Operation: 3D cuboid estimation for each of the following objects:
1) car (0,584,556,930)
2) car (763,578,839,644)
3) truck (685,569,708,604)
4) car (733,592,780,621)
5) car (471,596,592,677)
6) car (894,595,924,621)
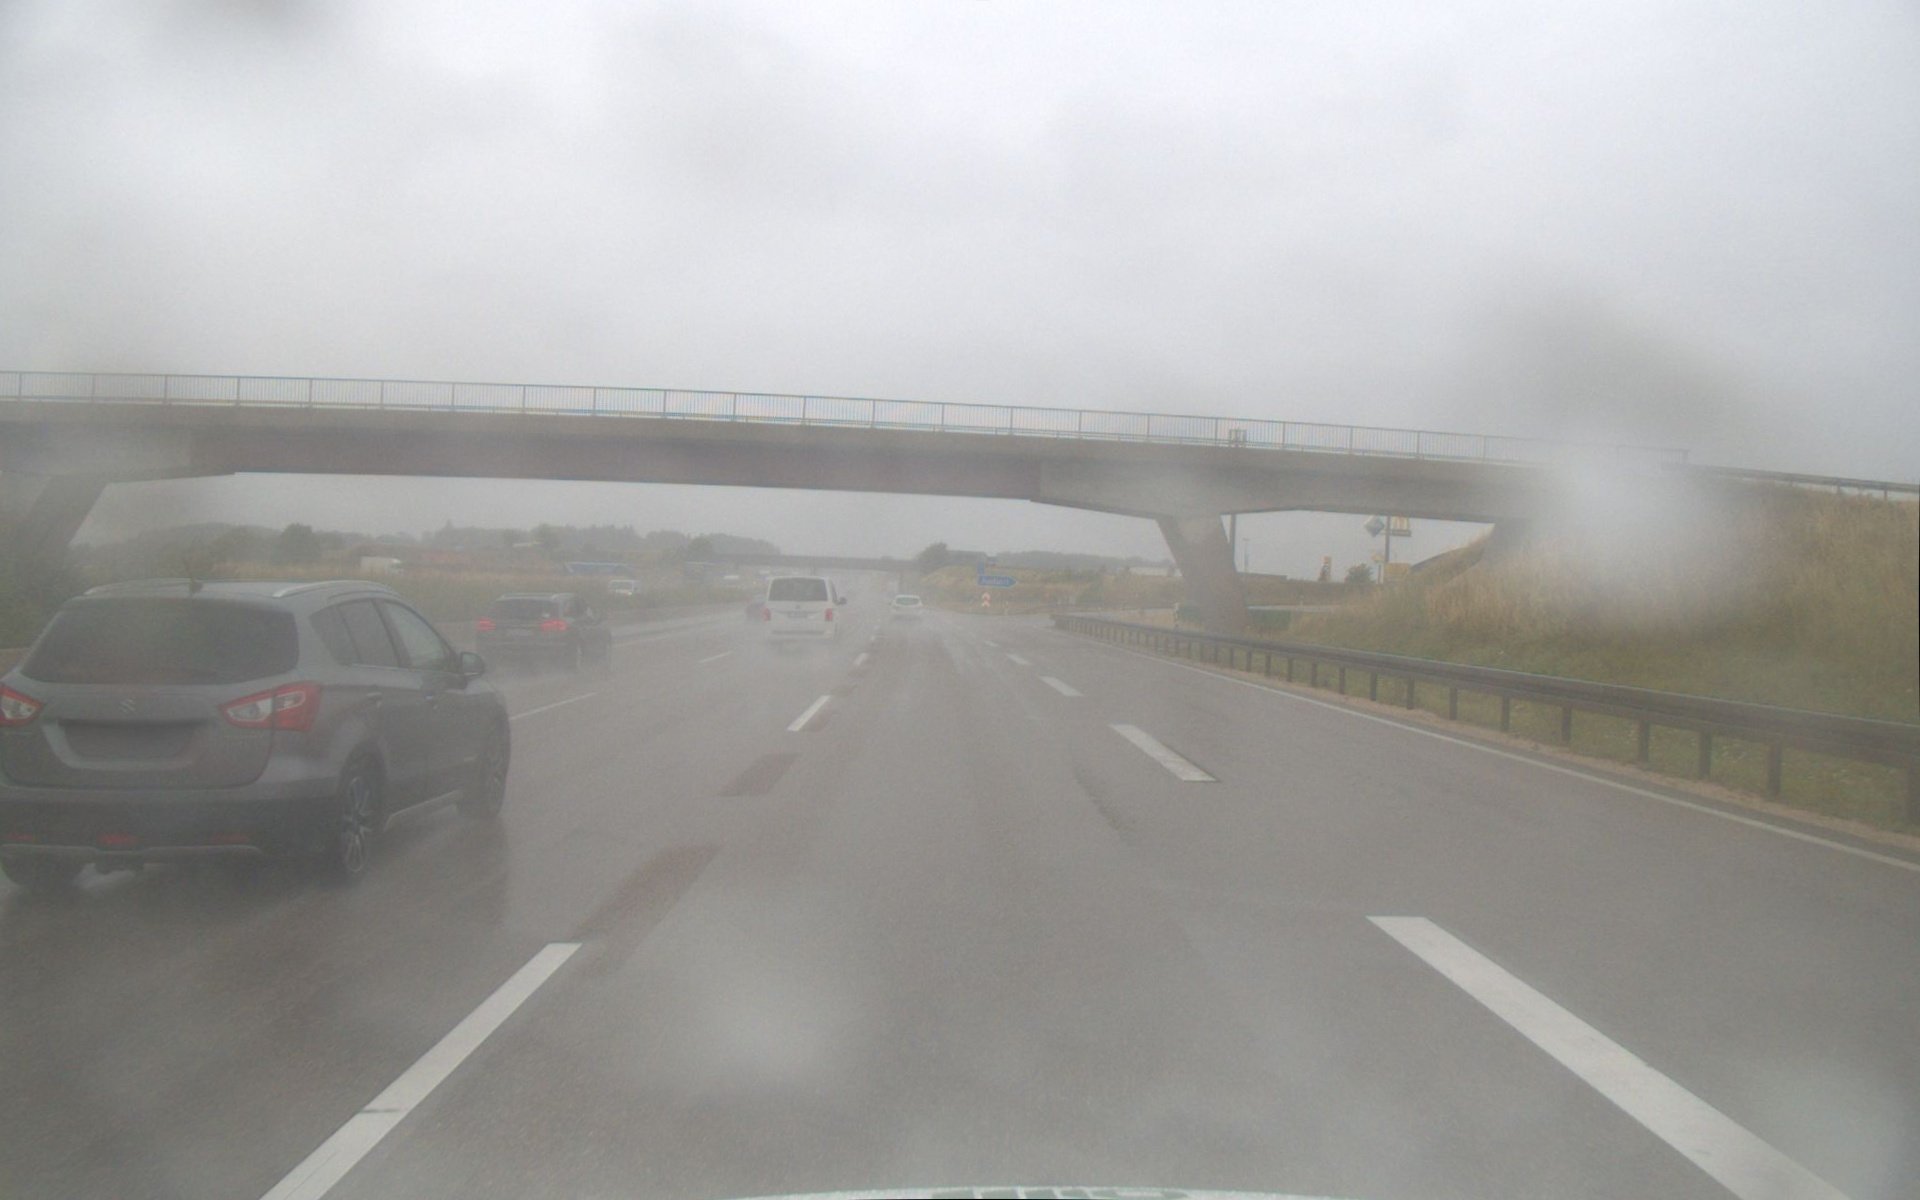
[{"bbox_3d":[-3.732,0.709,9.863,1.810,1.539,4.752,1,0,-5],"label":"car"},{"bbox_3d":[-4.127,0.274,43.532,1.860,1.613,3.996,1,0,-4],"label":"car"},{"bbox_3d":[-31.305,-1.577,196.678,2.169,4.053,5.182,1,0,-3],"label":"truck"},{"bbox_3d":[-9.215,0.285,74.917,1.437,1.279,3.342,1,0,5],"label":"car"},{"bbox_3d":[-7.852,0.633,30.590,1.582,1.378,3.994,1,0,-6],"label":"car"},{"bbox_3d":[-2.556,0.387,82.963,1.438,1.229,2.991,1,0,0],"label":"car"}]
